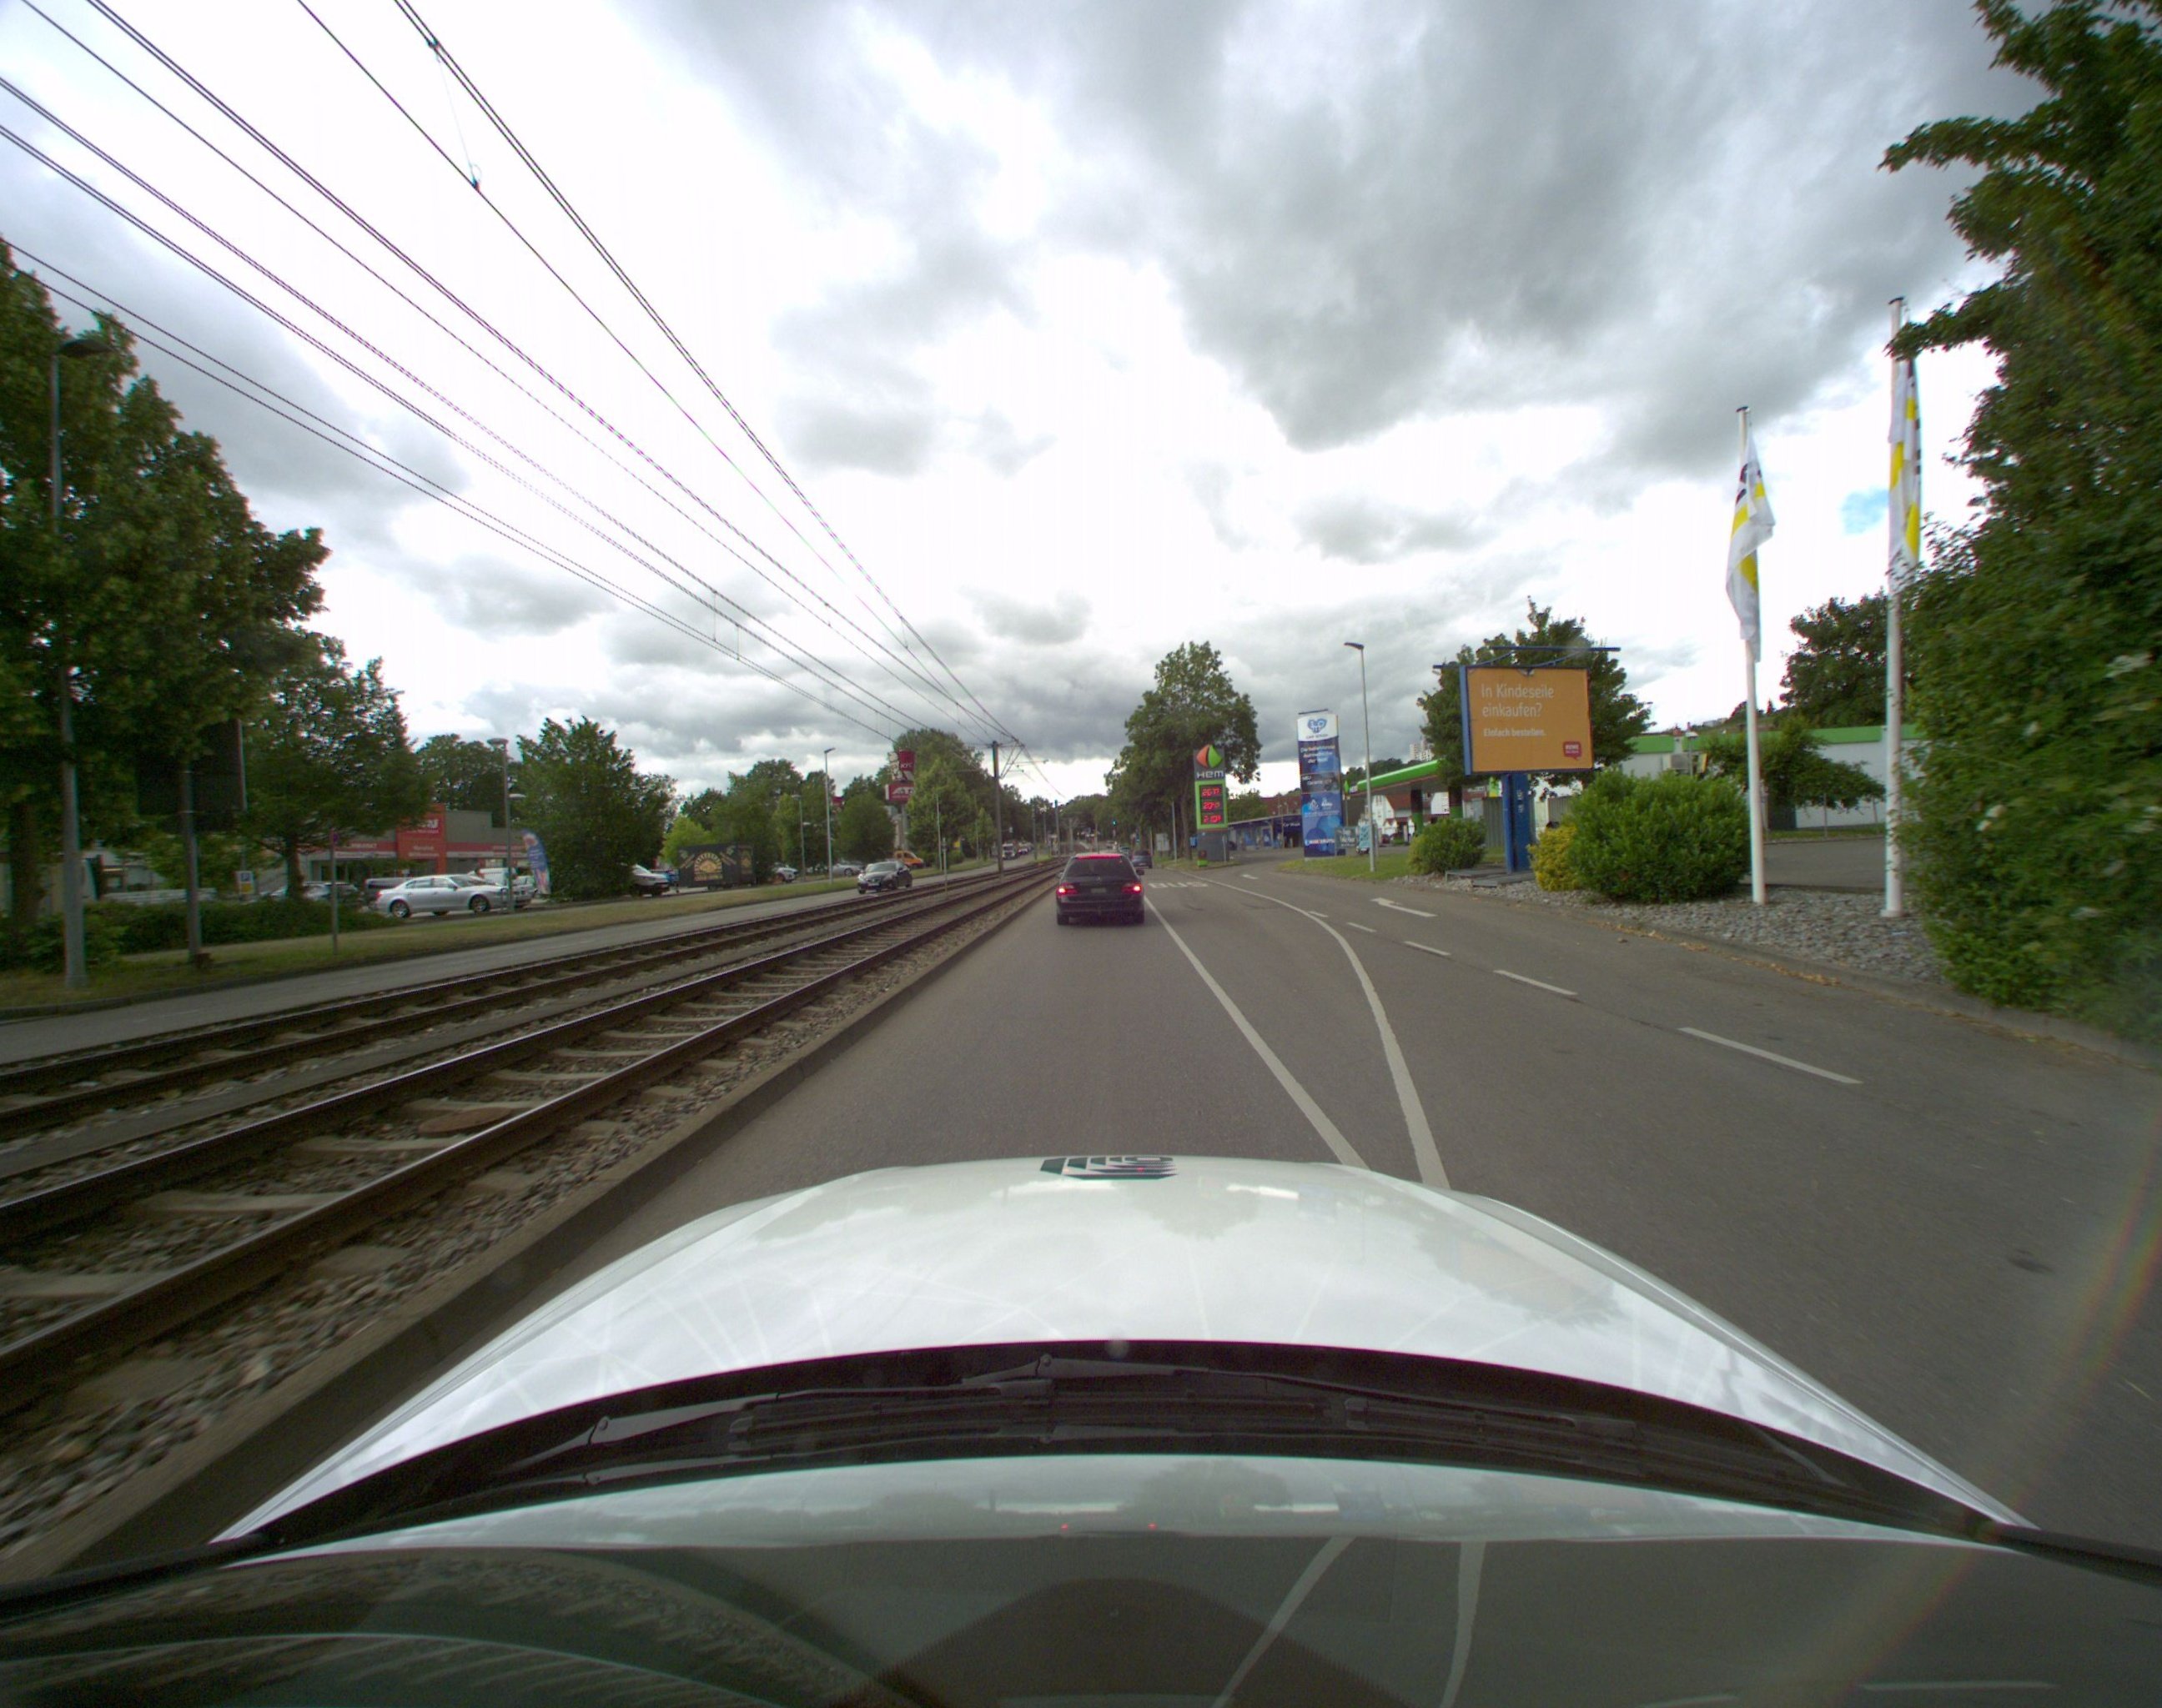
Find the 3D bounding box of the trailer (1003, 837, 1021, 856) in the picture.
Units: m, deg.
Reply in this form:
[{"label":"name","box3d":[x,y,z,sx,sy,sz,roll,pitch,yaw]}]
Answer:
[{"label":"trailer","box3d":[-14.148,-1.550,168.047,2.697,3.660,13.291,-3,0,-1]}]

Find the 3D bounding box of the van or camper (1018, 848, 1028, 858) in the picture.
[{"label":"van or camper","box3d":[-13.879,-0.187,195.586,1.987,2.354,5.764,-3,0,0]}]

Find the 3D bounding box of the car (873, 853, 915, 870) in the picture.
[{"label":"car","box3d":[-20.054,0.769,87.479,3.978,1.599,1.876,-3,0,-3]}]

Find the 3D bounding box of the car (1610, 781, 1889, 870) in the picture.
[{"label":"car","box3d":[14.992,-0.606,18.501,4.014,1.655,2.938,-3,0,-8]}]

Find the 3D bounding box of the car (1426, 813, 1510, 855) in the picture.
[{"label":"car","box3d":[17.858,-0.854,37.822,1.814,1.674,4.338,-5,-1,1]}]

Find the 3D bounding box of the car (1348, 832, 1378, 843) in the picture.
[{"label":"car","box3d":[45.894,-2.633,132.457,4.203,1.684,1.777,-1,0,-1]}]

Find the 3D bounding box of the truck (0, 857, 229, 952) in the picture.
[{"label":"truck","box3d":[-28.698,1.364,23.726,1.986,2.382,5.266,-3,0,2]}]

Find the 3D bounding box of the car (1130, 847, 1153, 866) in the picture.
[{"label":"car","box3d":[4.697,0.218,63.470,1.565,1.414,3.355,-1,0,2]}]

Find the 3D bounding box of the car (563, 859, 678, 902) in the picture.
[{"label":"car","box3d":[-21.824,1.221,38.701,4.207,1.727,1.995,-3,0,-1]}]

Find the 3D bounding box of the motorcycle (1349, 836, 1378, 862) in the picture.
[{"label":"motorcycle","box3d":[15.508,-0.272,44.750,0.852,1.331,1.991,-3,0,2]}]

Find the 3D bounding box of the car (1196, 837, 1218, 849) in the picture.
[{"label":"car","box3d":[19.237,-1.705,123.929,1.987,1.682,4.607,-3,1,26]}]

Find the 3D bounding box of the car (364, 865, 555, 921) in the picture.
[{"label":"car","box3d":[-22.293,1.361,29.415,4.763,1.628,2.654,-3,1,2]}]

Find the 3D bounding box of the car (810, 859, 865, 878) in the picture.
[{"label":"car","box3d":[-21.465,1.288,71.881,4.294,1.472,1.680,-3,0,-1]}]

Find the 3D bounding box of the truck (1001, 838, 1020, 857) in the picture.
[{"label":"truck","box3d":[-14.038,-1.283,162.612,2.699,3.663,11.106,-3,0,-1]}]

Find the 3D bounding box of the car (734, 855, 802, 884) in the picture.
[{"label":"car","box3d":[-21.936,1.063,57.200,3.978,1.797,1.876,-3,0,-3]}]

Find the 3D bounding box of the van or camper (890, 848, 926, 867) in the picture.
[{"label":"van or camper","box3d":[-20.618,0.371,97.129,3.978,2.135,1.876,-1,0,-3]}]

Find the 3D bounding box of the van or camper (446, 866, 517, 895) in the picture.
[{"label":"van or camper","box3d":[-49.520,2.171,67.341,4.252,2.145,1.820,-3,0,-4]}]

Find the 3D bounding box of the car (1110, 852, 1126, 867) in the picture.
[{"label":"car","box3d":[3.561,0.545,79.217,1.460,1.414,3.355,-1,0,2]}]

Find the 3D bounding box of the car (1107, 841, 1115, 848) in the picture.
[{"label":"car","box3d":[7.805,-2.558,214.743,1.986,1.838,4.001,-1,0,1]}]

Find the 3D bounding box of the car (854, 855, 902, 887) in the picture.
[{"label":"car","box3d":[-12.213,0.986,49.176,1.786,1.772,3.999,-3,0,0]}]

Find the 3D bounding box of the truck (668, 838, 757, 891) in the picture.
[{"label":"truck","box3d":[-21.576,0.583,47.805,3.976,2.821,2.375,-3,0,-1]}]

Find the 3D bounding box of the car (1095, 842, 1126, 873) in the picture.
[{"label":"car","box3d":[1.735,0.209,48.671,1.774,1.750,3.719,-1,0,2]}]

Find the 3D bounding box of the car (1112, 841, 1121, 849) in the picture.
[{"label":"car","box3d":[8.492,-2.075,192.395,1.986,1.714,4.002,-3,0,2]}]

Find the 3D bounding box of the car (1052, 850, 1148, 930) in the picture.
[{"label":"car","box3d":[0.421,0.675,17.424,1.802,1.474,3.882,-1,0,2]}]

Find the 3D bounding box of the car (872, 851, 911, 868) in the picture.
[{"label":"car","box3d":[-21.393,0.630,91.887,3.978,1.797,1.876,-2,0,-3]}]

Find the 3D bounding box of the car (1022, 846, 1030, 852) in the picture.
[{"label":"car","box3d":[-14.789,-1.309,220.603,1.758,1.647,3.772,-1,0,2]}]

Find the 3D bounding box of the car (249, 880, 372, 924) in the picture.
[{"label":"car","box3d":[-33.426,2.071,35.381,3.964,1.596,1.697,-3,0,8]}]

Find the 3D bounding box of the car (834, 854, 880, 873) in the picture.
[{"label":"car","box3d":[-21.831,0.959,79.453,3.978,1.599,1.876,-3,0,-3]}]

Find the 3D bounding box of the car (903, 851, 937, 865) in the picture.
[{"label":"car","box3d":[-20.841,0.546,105.709,3.978,1.599,1.794,-3,0,-3]}]

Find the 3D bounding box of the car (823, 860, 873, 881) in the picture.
[{"label":"car","box3d":[-21.284,1.513,74.511,3.978,1.635,1.876,-3,0,-3]}]

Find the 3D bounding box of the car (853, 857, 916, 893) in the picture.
[{"label":"car","box3d":[-9.343,0.967,39.083,1.753,1.401,4.444,-5,0,1]}]
